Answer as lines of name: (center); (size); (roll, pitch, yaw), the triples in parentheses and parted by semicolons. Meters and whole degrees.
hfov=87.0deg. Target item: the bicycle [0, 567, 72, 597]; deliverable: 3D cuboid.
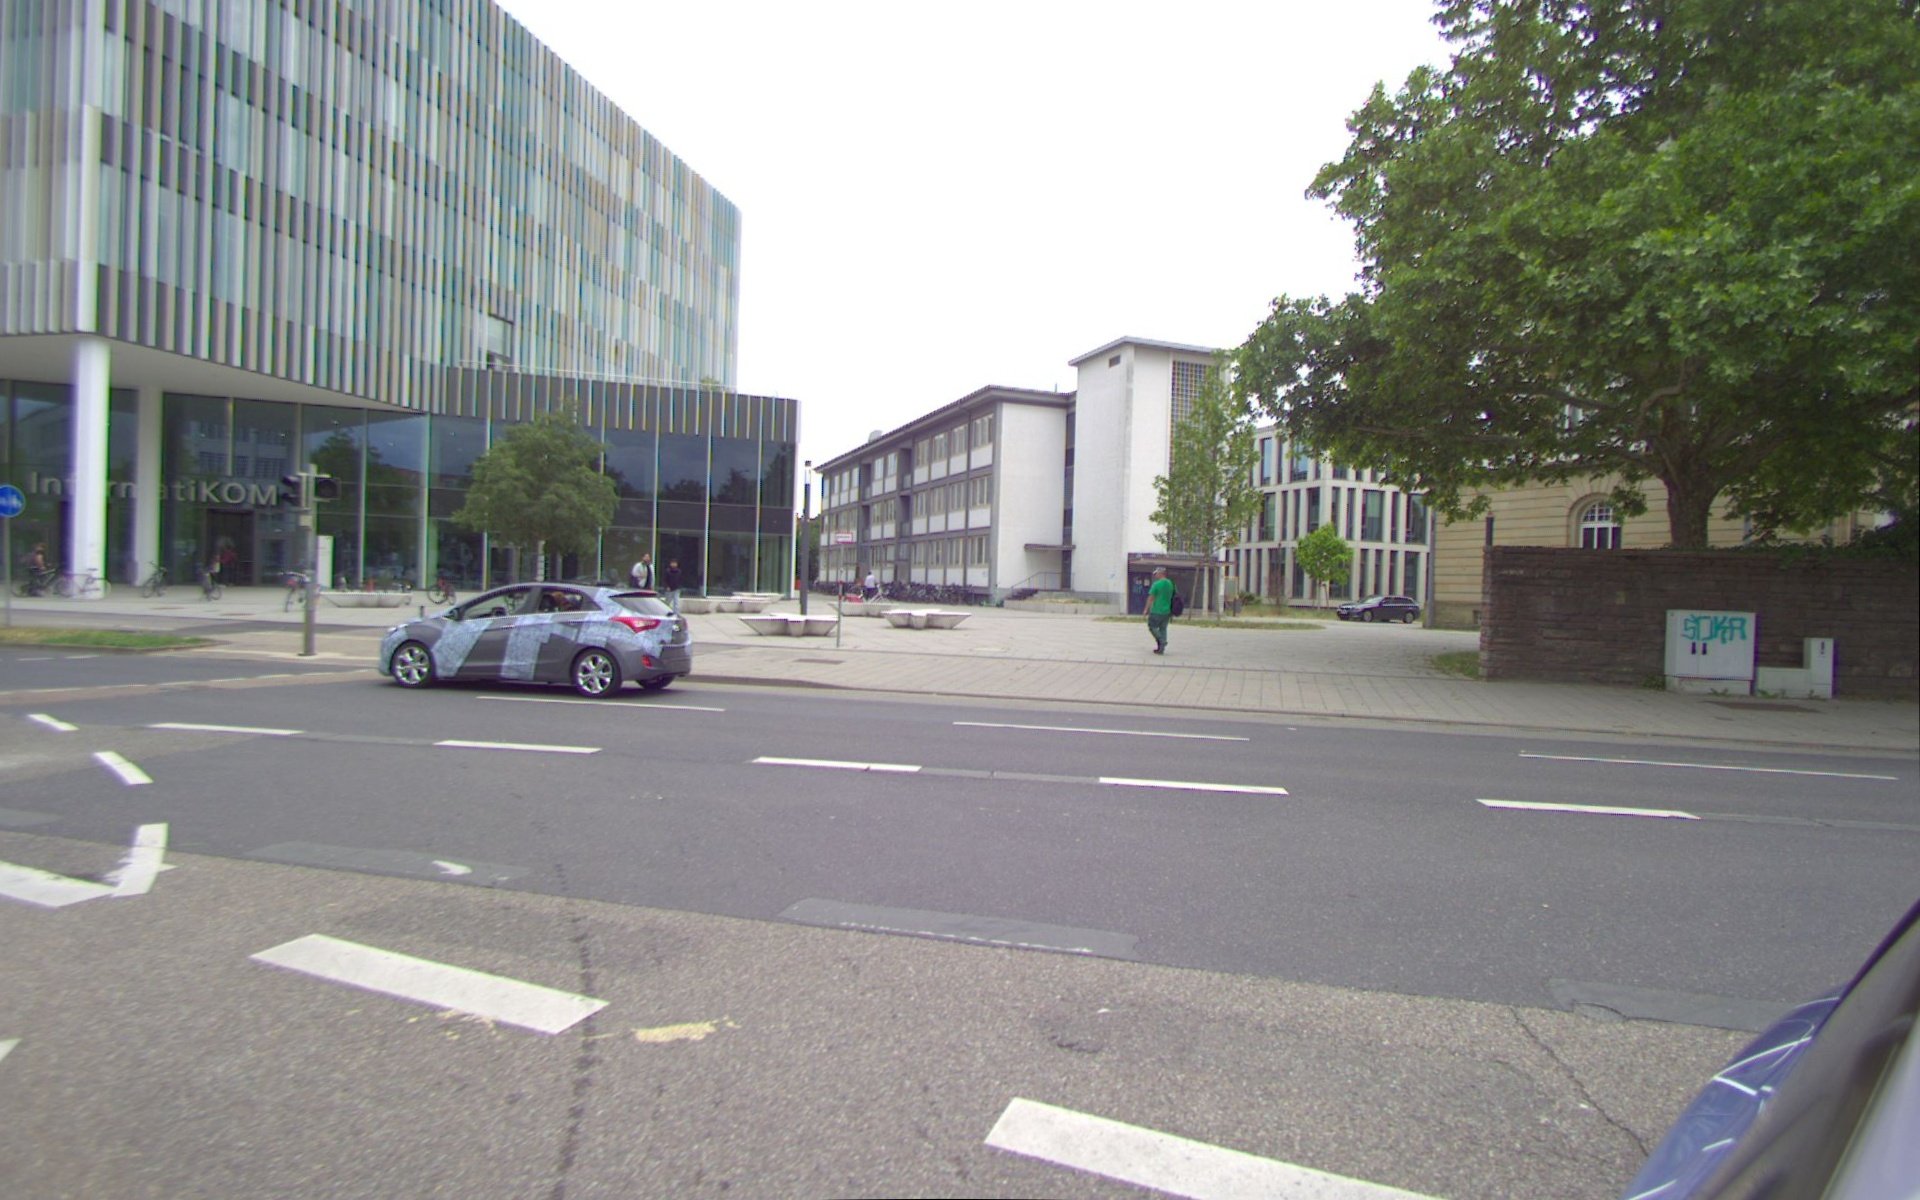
bicycle: (-29.421, -0.572, 32.033); (0.600, 0.937, 1.897); (1, 1, 29)

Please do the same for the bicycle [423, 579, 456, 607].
bicycle: (-18.242, -0.252, 35.452); (0.476, 0.947, 2.005); (0, 2, -44)

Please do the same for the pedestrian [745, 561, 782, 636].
pedestrian: (-4.510, -0.043, 23.238); (0.607, 1.687, 0.624); (1, -1, -36)

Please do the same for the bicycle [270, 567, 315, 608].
bicycle: (-18.065, -0.345, 27.432); (0.474, 1.058, 1.788); (1, 1, -15)

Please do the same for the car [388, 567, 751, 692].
car: (-5.203, 0.377, 13.764); (4.160, 1.487, 1.993); (1, -2, 11)

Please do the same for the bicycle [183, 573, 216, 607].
bicycle: (-24.699, -0.343, 32.893); (0.474, 1.058, 1.920); (1, 1, -25)

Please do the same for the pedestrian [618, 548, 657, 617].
pedestrian: (-8.727, -0.482, 27.364); (0.829, 1.810, 0.896); (1, 1, -29)

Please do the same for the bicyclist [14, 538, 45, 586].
bicyclist: (-29.284, -1.205, 31.865); (0.480, 1.487, 0.599); (2, 1, 31)

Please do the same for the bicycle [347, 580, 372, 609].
bicycle: (-20.534, -0.201, 34.595); (0.538, 0.947, 2.010); (0, 2, -36)

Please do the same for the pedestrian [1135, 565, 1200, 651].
pedestrian: (4.323, 0.160, 21.131); (0.931, 1.736, 0.908); (2, 1, -15)

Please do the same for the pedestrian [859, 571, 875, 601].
pedestrian: (-5.867, -0.889, 63.793); (0.760, 1.811, 0.763); (1, 0, -21)

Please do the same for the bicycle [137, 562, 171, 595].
bicycle: (-27.363, -0.745, 34.367); (0.474, 1.058, 1.920); (1, 1, -26)

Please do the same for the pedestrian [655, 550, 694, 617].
pedestrian: (-7.856, -0.447, 27.831); (0.829, 1.811, 0.896); (1, 0, -29)

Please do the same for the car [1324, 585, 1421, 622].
car: (21.480, 0.172, 52.741); (4.310, 1.604, 2.001); (0, -10, -20)

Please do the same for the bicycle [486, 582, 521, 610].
bicycle: (-16.623, -0.161, 36.817); (0.476, 0.947, 2.005); (0, 2, -44)

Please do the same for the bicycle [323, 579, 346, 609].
bicycle: (-21.150, -0.221, 34.210); (0.475, 0.947, 2.010); (0, 2, -36)

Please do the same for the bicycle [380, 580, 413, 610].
bicycle: (-19.359, -0.177, 34.745); (0.476, 0.947, 2.005); (0, 2, -44)
